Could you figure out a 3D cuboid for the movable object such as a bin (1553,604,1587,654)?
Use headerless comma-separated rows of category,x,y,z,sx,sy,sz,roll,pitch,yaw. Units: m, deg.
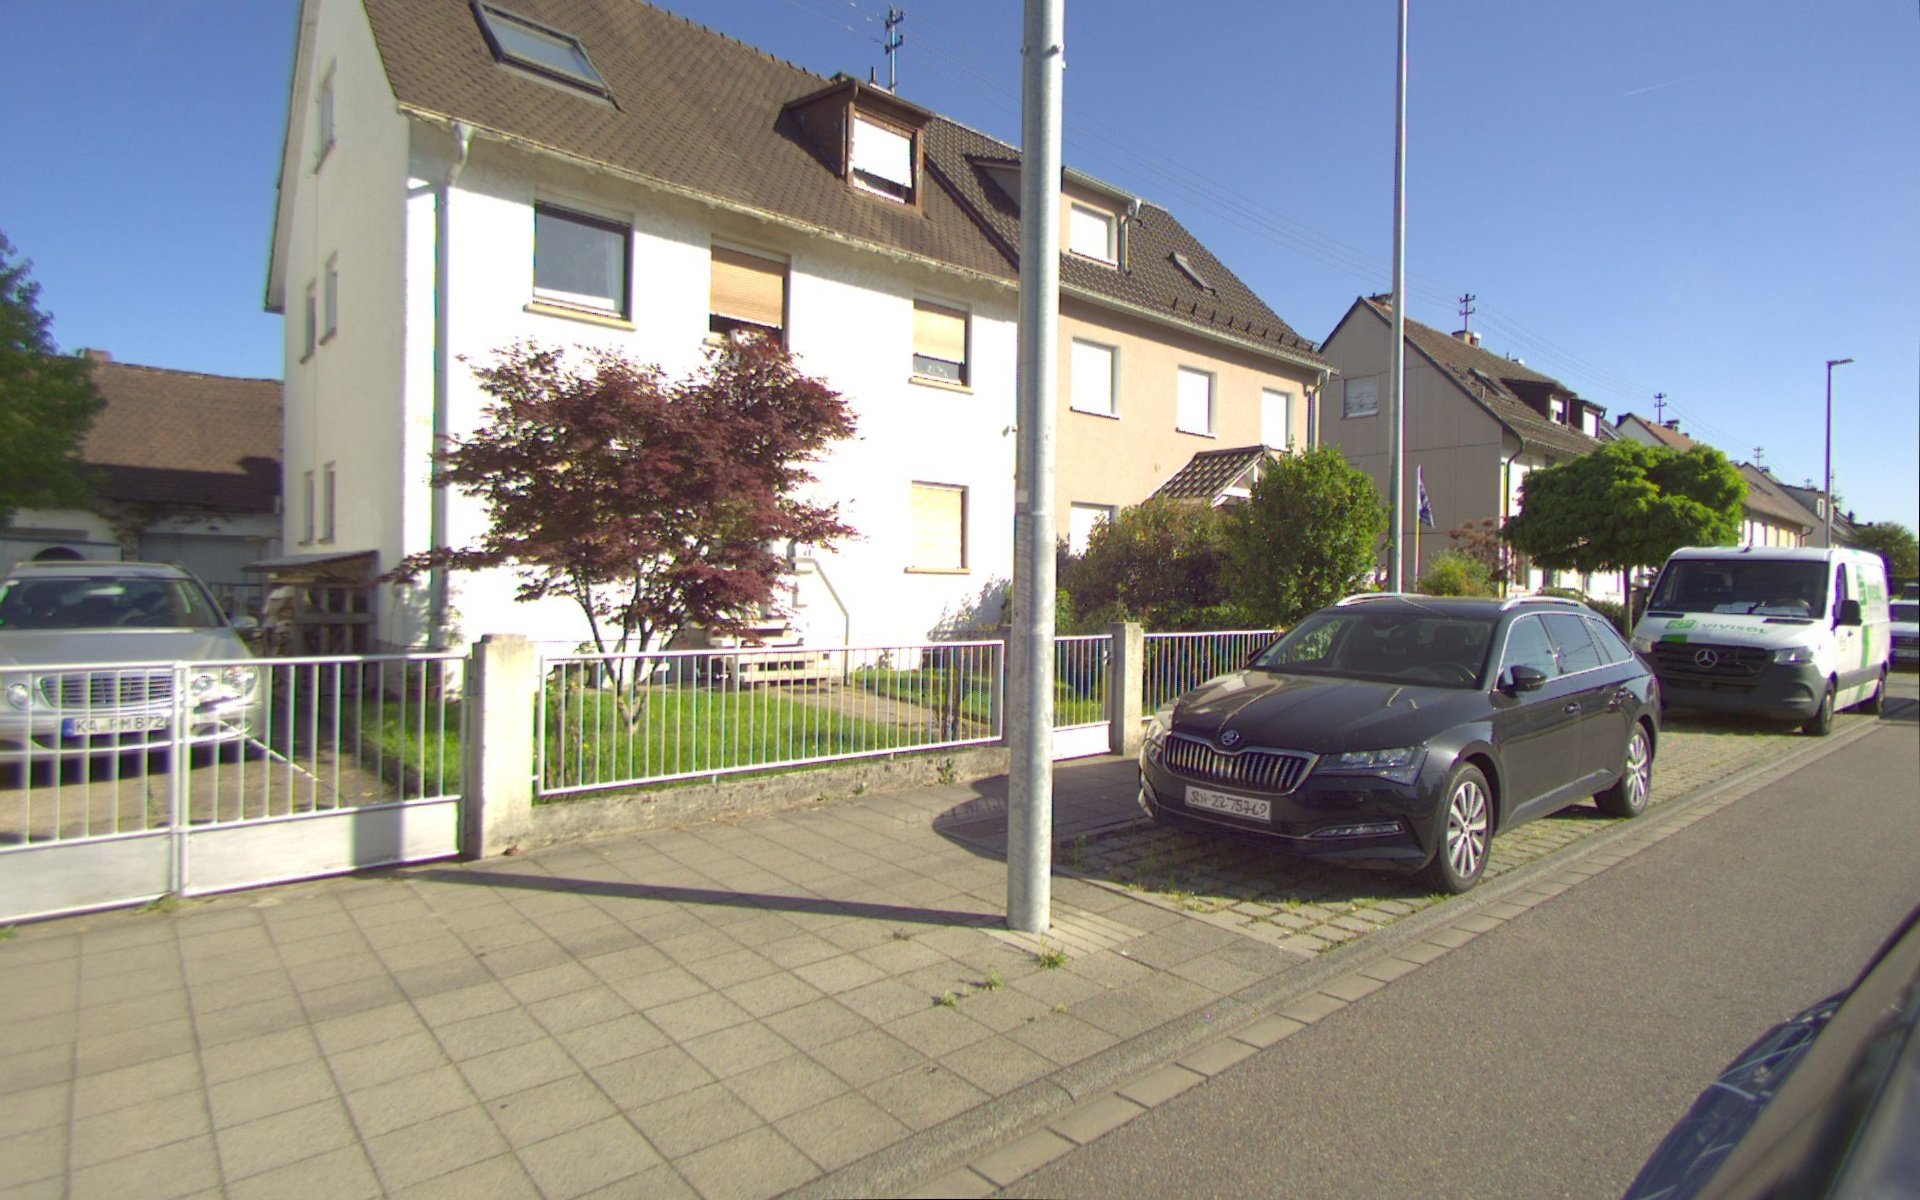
movable object such as a bin,13.406,0.624,22.246,0.456,1.057,0.516,1,1,-41

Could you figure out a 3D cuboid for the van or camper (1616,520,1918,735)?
van or camper,11.027,0.226,13.595,6.194,2.298,1.998,-1,3,-41

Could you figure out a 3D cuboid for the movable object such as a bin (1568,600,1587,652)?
movable object such as a bin,13.467,0.562,22.066,0.276,1.109,0.328,0,1,20

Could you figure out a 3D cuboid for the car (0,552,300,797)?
car,-6.973,0.379,8.339,1.875,1.495,4.719,-1,2,-42

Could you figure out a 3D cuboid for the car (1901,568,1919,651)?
car,27.557,0.264,27.786,5.243,2.170,1.963,0,2,-41

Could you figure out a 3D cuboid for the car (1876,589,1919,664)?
car,23.371,0.617,24.144,4.243,1.665,1.729,0,3,-41

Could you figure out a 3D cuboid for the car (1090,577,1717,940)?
car,3.227,0.651,6.678,5.065,1.512,1.752,-1,3,-41

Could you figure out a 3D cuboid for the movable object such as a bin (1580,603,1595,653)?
movable object such as a bin,13.726,0.607,22.142,0.212,1.076,0.320,0,1,20
